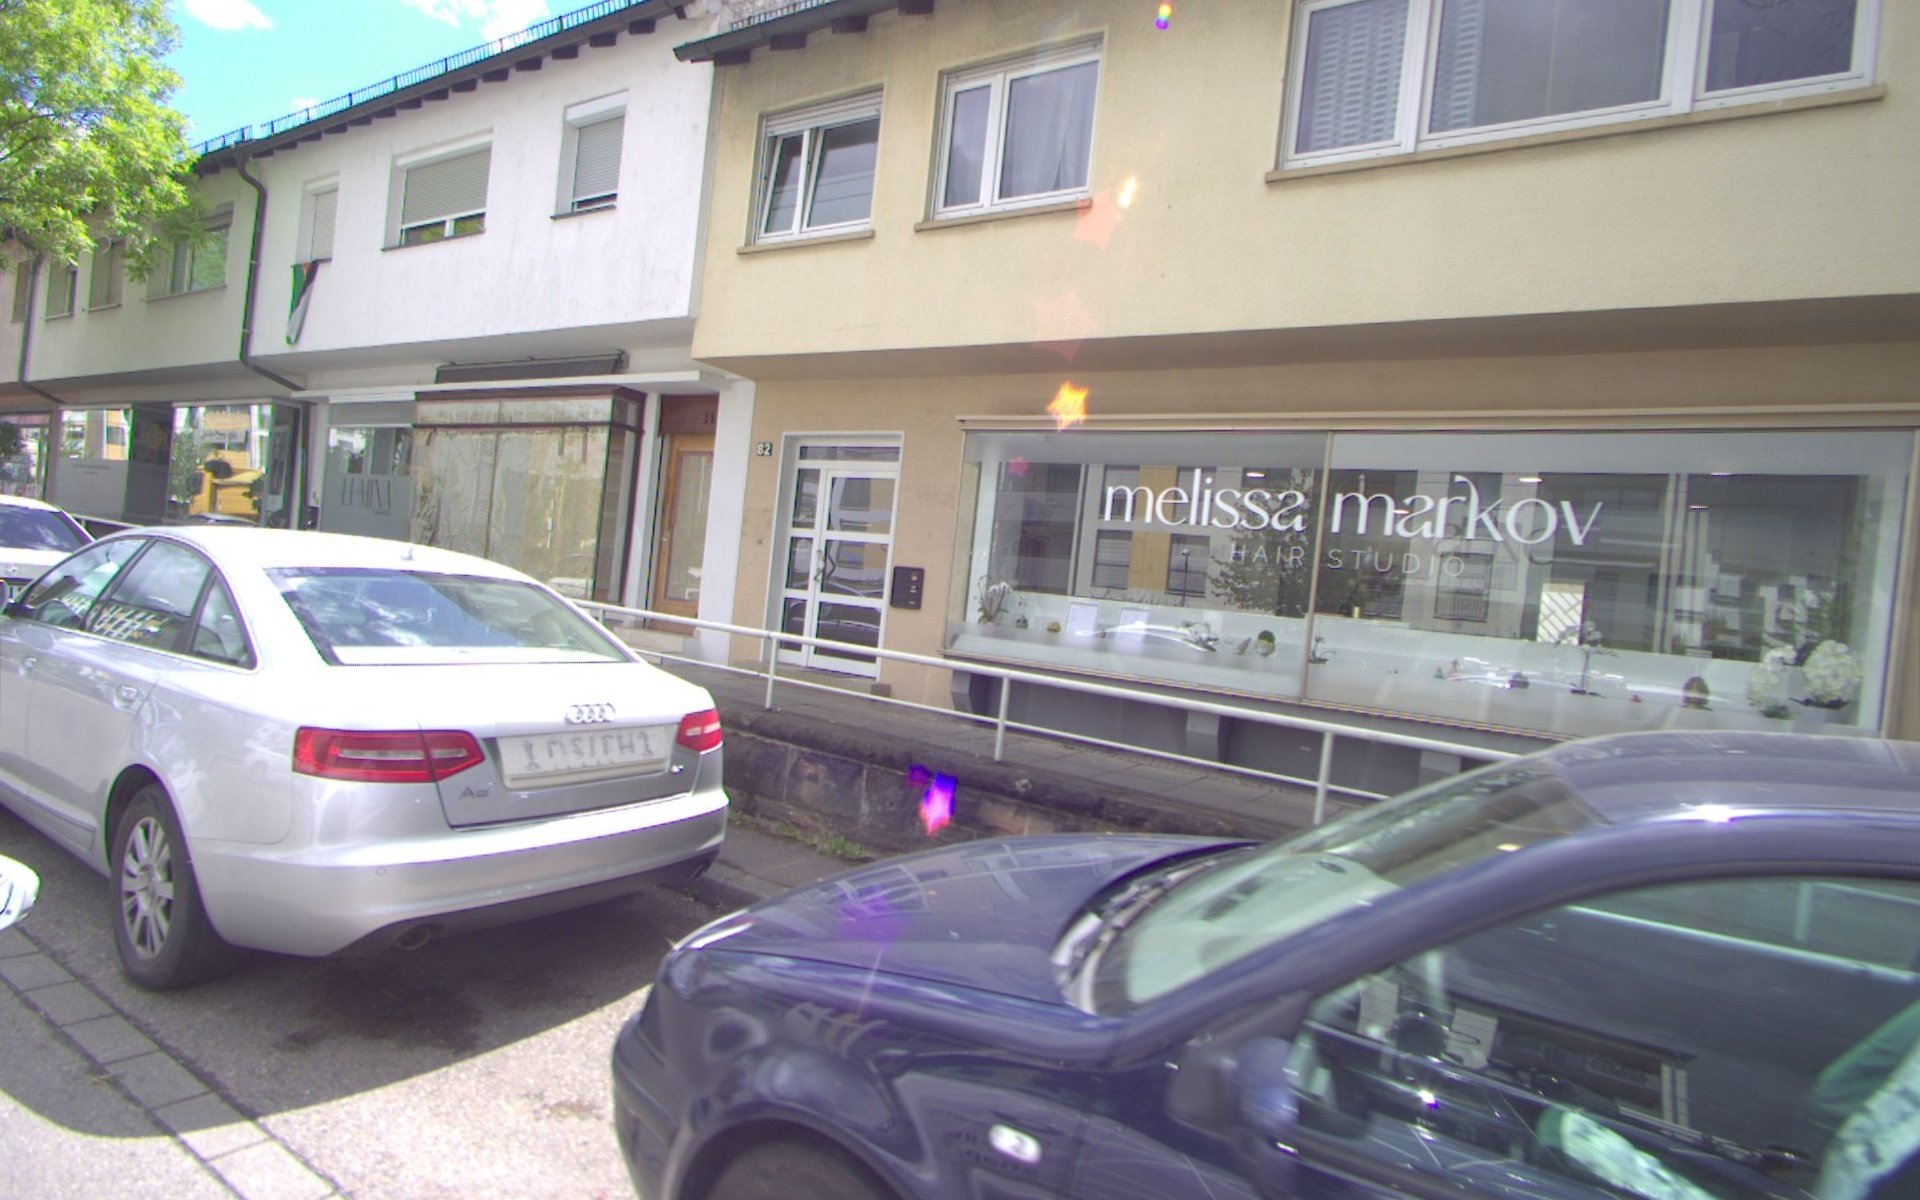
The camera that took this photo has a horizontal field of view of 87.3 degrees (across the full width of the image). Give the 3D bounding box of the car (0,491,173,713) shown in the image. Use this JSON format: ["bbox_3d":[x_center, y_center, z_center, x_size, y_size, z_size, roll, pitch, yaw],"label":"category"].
[{"bbox_3d":[-8.029,-0.190,7.725,4.374,1.443,1.726,7,0,33],"label":"car"}]

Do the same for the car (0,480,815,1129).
[{"bbox_3d":[-3.130,0.383,4.572,4.833,1.517,1.815,7,0,35],"label":"car"}]

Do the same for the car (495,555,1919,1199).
[{"bbox_3d":[1.245,0.906,1.659,3.976,1.481,1.815,7,0,35],"label":"car"}]
